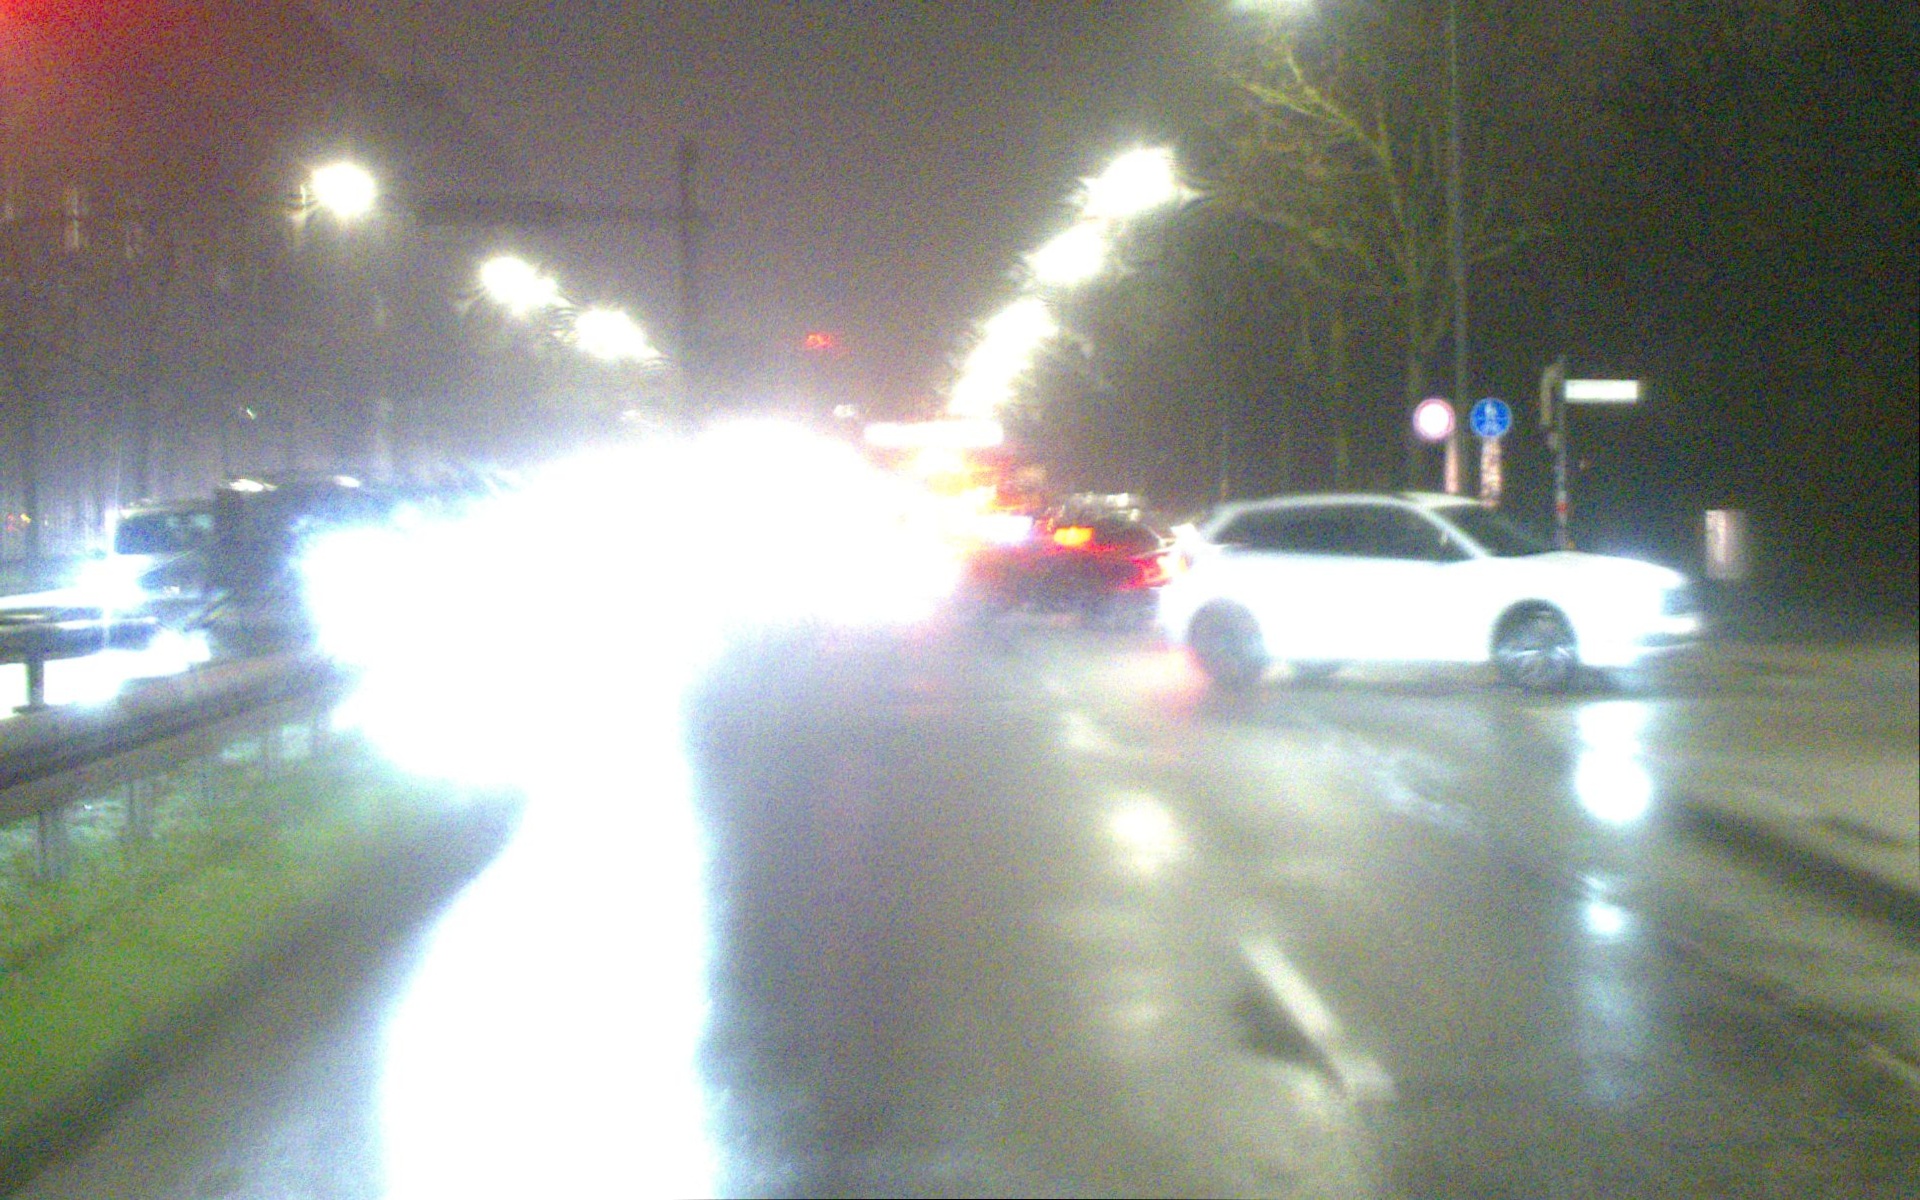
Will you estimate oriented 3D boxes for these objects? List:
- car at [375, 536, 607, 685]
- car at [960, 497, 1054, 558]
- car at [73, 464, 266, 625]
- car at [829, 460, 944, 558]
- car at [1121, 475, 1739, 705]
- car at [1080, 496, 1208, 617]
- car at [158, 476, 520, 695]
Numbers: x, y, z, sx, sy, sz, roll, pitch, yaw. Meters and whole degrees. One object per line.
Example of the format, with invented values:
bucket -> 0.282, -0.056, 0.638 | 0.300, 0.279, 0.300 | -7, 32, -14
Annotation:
car -> -5.453, 0.087, 39.495 | 1.901, 1.612, 4.515 | 0, 1, -17
car -> 1.175, -1.839, 88.092 | 2.091, 1.540, 4.307 | 0, 1, -3
car -> -8.671, -0.599, 37.954 | 1.952, 1.667, 4.418 | 0, 1, -12
car -> -1.727, -2.047, 78.721 | 2.441, 2.186, 5.080 | 0, 1, -3
car -> 3.640, -0.095, 26.936 | 4.457, 1.665, 1.837 | 0, 1, 34
car -> 3.125, -0.750, 59.119 | 2.038, 2.007, 4.307 | 0, 1, 1
car -> -5.307, -0.137, 29.069 | 1.717, 1.728, 3.765 | 0, 1, -32
